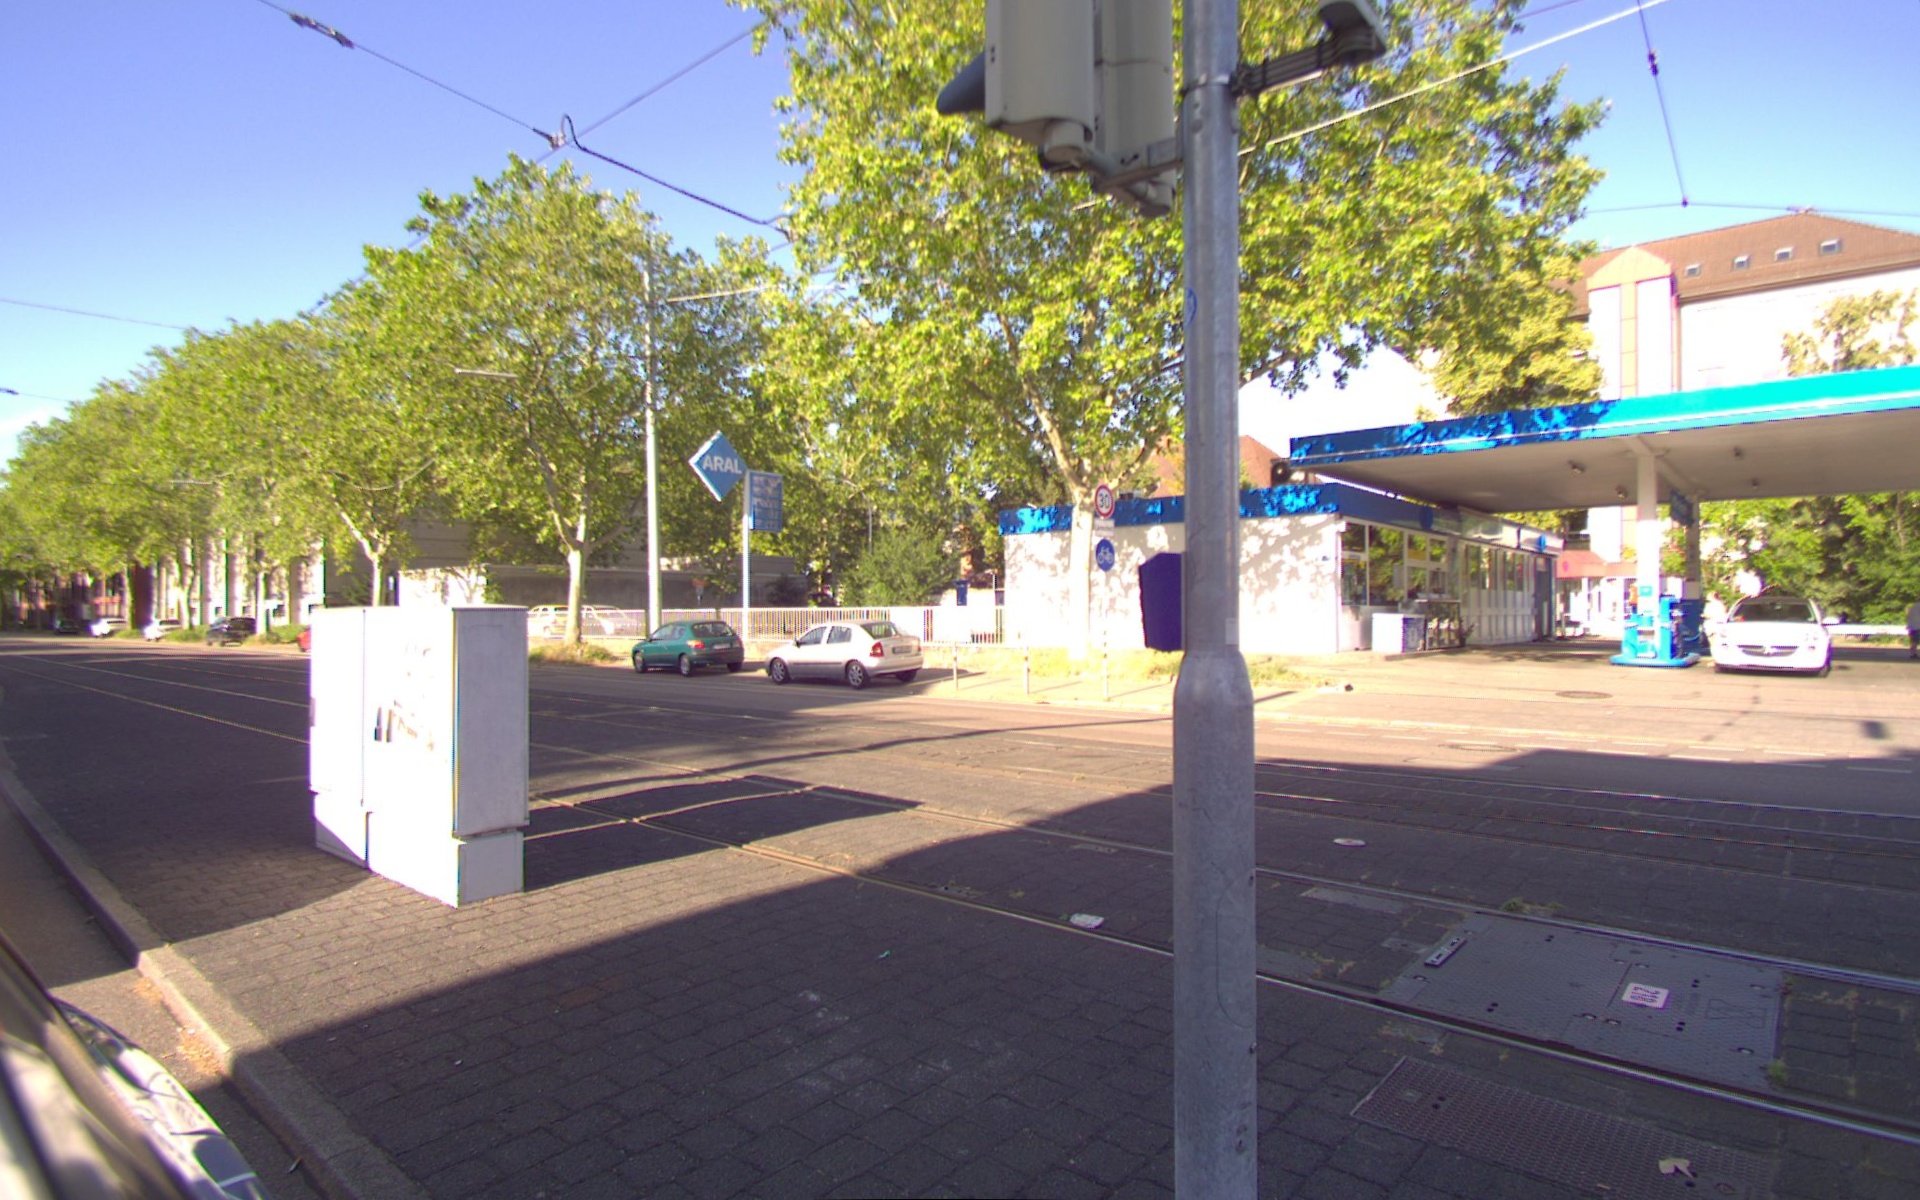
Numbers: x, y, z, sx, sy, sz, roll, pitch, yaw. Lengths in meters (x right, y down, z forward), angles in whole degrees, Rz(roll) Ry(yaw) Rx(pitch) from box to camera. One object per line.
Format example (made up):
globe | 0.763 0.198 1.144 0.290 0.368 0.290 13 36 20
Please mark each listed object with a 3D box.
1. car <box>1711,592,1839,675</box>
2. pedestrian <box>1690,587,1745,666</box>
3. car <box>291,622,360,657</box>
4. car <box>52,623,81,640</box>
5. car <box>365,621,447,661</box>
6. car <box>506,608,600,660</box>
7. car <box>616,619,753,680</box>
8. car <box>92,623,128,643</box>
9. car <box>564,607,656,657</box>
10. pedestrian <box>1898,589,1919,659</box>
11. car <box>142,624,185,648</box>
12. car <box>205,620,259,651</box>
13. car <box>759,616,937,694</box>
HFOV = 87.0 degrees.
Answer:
car | 15.951 0.616 19.784 1.793 1.453 3.946 -1 -1 40
pedestrian | 16.178 0.556 21.628 0.637 1.642 0.814 1 -2 -42
car | -28.901 1.775 46.050 3.858 1.440 1.695 -1 0 43
car | -84.859 3.013 96.124 3.858 1.495 1.735 -1 0 43
car | -21.974 1.589 40.095 3.858 1.468 1.735 -1 0 43
car | -17.033 1.395 42.266 3.996 2.029 1.974 -1 -1 39
car | -7.423 1.276 27.079 3.858 1.408 1.722 -1 1 43
car | -66.913 2.580 79.648 3.858 1.495 1.735 -1 0 43
car | -15.134 1.365 43.694 3.996 2.029 1.974 -1 -1 39
pedestrian | 25.565 0.623 26.654 0.887 1.815 0.907 -1 -1 15
car | -53.626 2.400 68.127 3.858 1.495 1.735 -1 0 43
car | -40.664 1.956 56.491 3.858 1.557 1.735 -1 0 43
car | -2.563 1.169 22.599 3.857 1.497 1.823 -1 1 42
